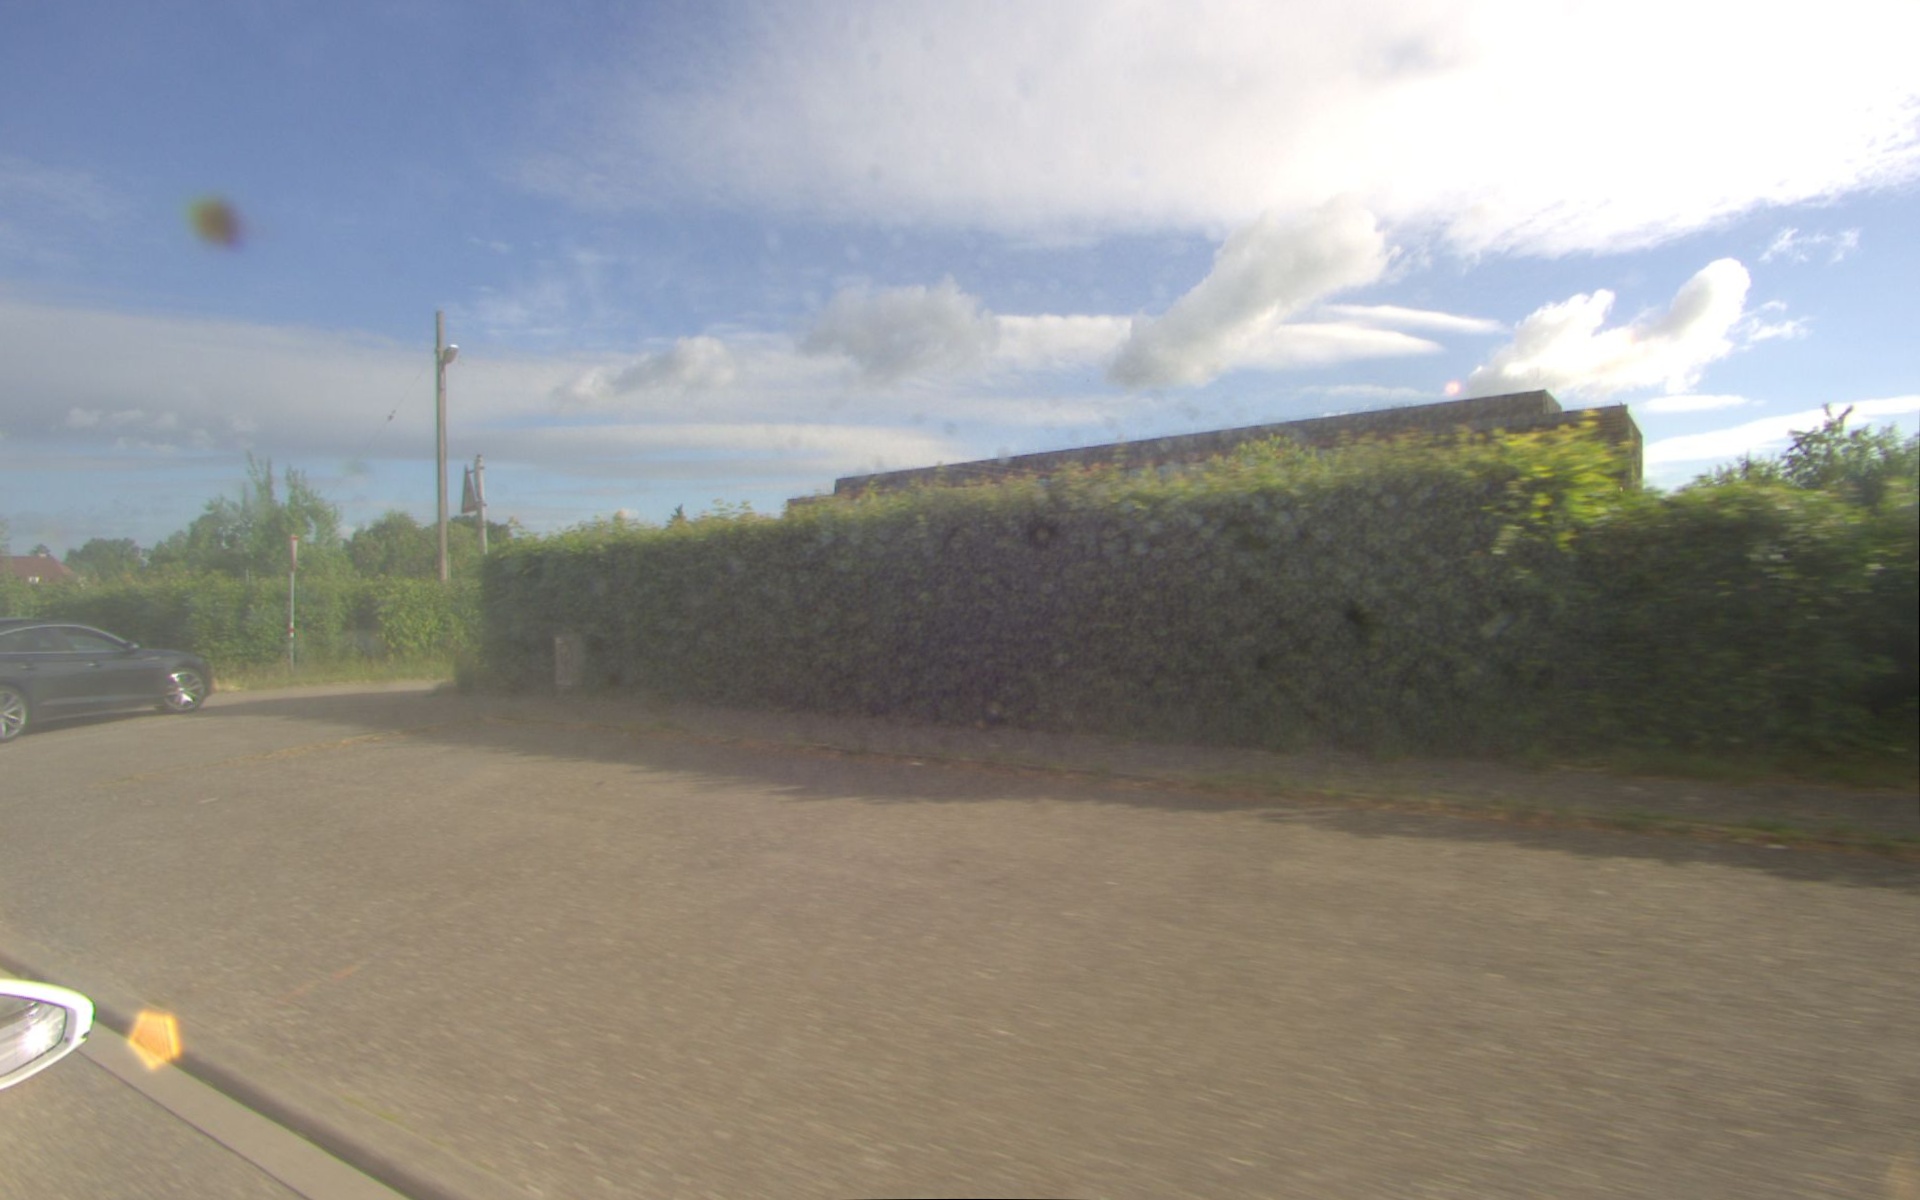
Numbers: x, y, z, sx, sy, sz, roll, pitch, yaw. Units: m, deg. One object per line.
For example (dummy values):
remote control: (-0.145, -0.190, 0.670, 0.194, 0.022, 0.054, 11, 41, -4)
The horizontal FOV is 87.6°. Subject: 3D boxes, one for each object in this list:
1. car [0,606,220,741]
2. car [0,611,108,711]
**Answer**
car: (-11.799, 0.858, 12.527, 1.934, 1.454, 4.334, -1, 1, -2)
car: (-15.642, 0.968, 14.804, 1.909, 1.462, 4.342, -1, 0, 39)
